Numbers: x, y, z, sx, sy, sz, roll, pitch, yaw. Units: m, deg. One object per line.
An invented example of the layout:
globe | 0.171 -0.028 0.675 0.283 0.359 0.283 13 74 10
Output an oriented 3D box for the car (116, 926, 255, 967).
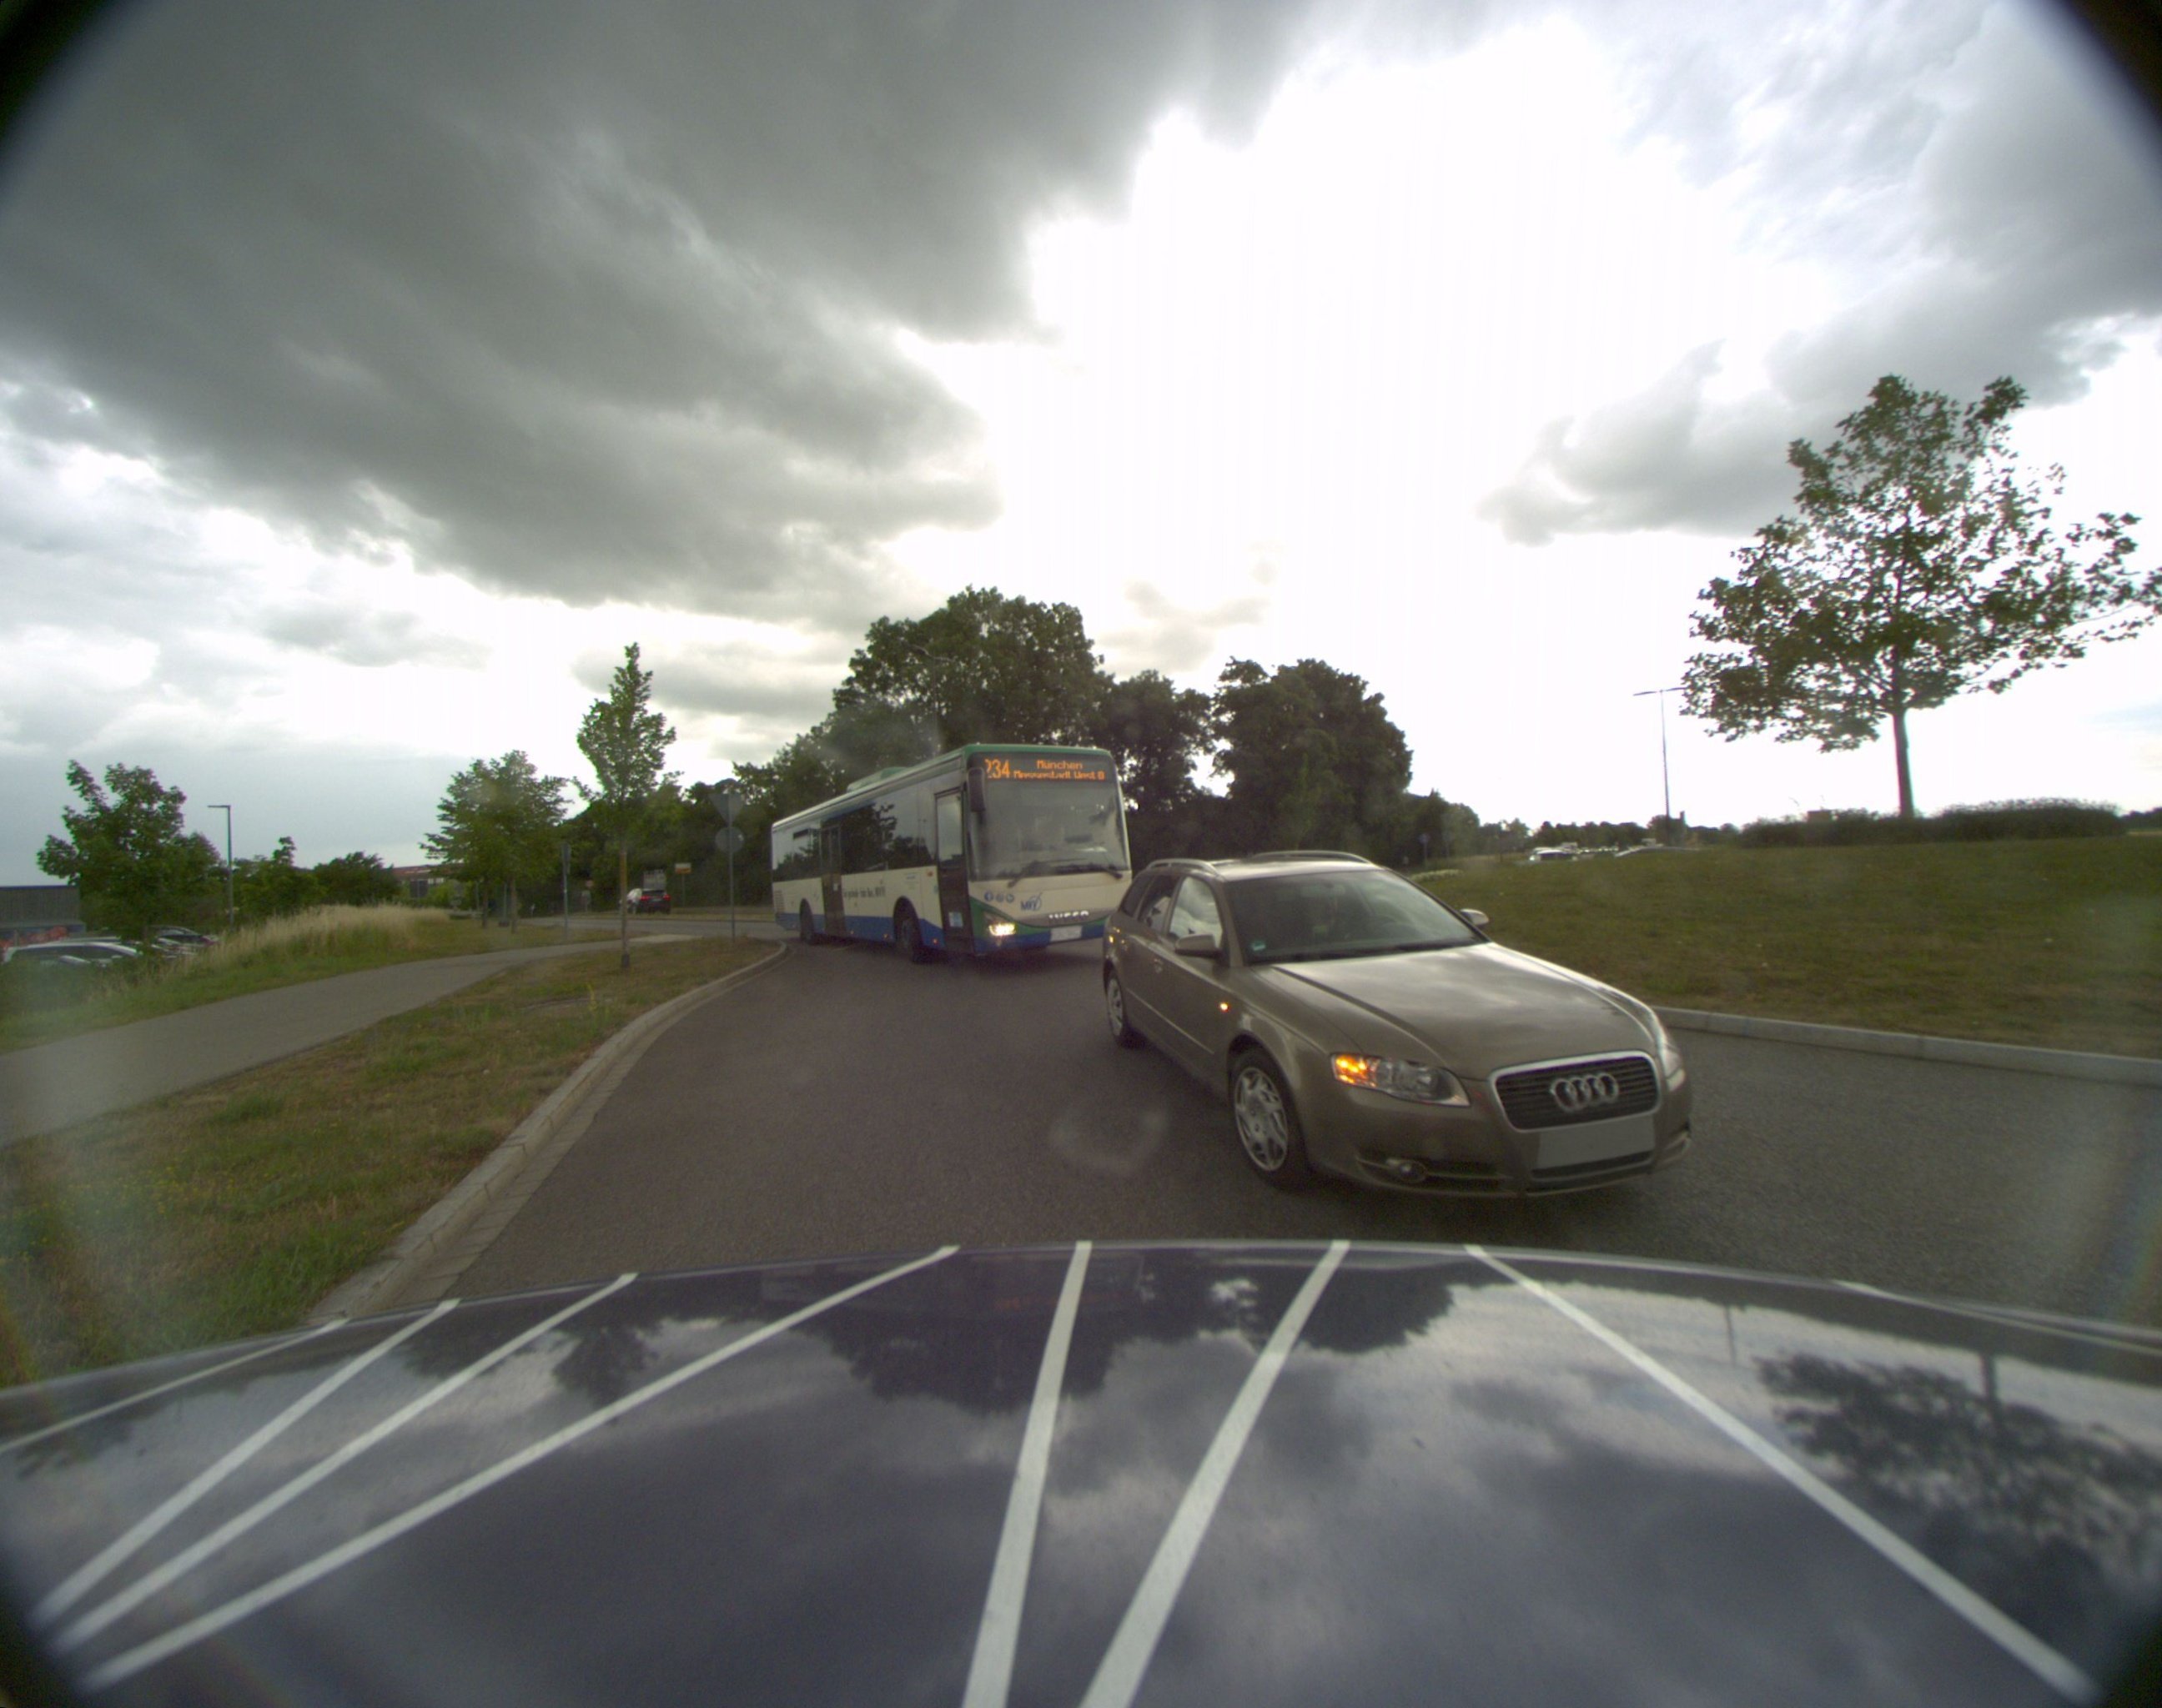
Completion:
car | -42.159 4.337 35.915 3.896 1.455 1.693 -2 -1 -34

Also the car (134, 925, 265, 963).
car | -43.562 4.415 37.686 3.896 1.455 1.693 -2 -1 -34

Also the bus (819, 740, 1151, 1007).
bus | -2.021 0.192 12.629 2.528 3.240 6.532 -6 3 -34

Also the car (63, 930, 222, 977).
car | -39.561 4.164 32.176 3.896 1.455 1.693 -2 -1 -34

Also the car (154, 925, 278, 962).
car | -44.415 4.554 39.148 3.896 1.455 1.693 -2 -1 -34

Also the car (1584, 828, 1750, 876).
car | 19.514 -0.047 25.524 4.073 1.422 1.766 -2 0 23

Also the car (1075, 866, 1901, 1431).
car | 1.332 0.869 4.543 1.784 1.456 4.536 -4 0 -12

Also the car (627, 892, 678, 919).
car | -25.852 3.067 45.758 3.572 1.496 1.647 -3 -1 43

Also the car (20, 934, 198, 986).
car | -37.719 4.074 29.651 3.896 1.455 1.693 -2 -1 -34

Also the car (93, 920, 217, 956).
car | -48.256 4.345 39.742 1.879 1.435 4.008 -3 -1 41

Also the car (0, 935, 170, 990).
car | -35.619 3.827 26.930 3.896 1.455 1.693 -2 -1 -34

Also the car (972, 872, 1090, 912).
car | -1.771 1.370 27.835 4.110 1.299 1.832 -2 -1 3

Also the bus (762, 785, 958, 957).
bus | -5.319 0.307 17.626 2.528 3.240 5.447 -6 3 -34
